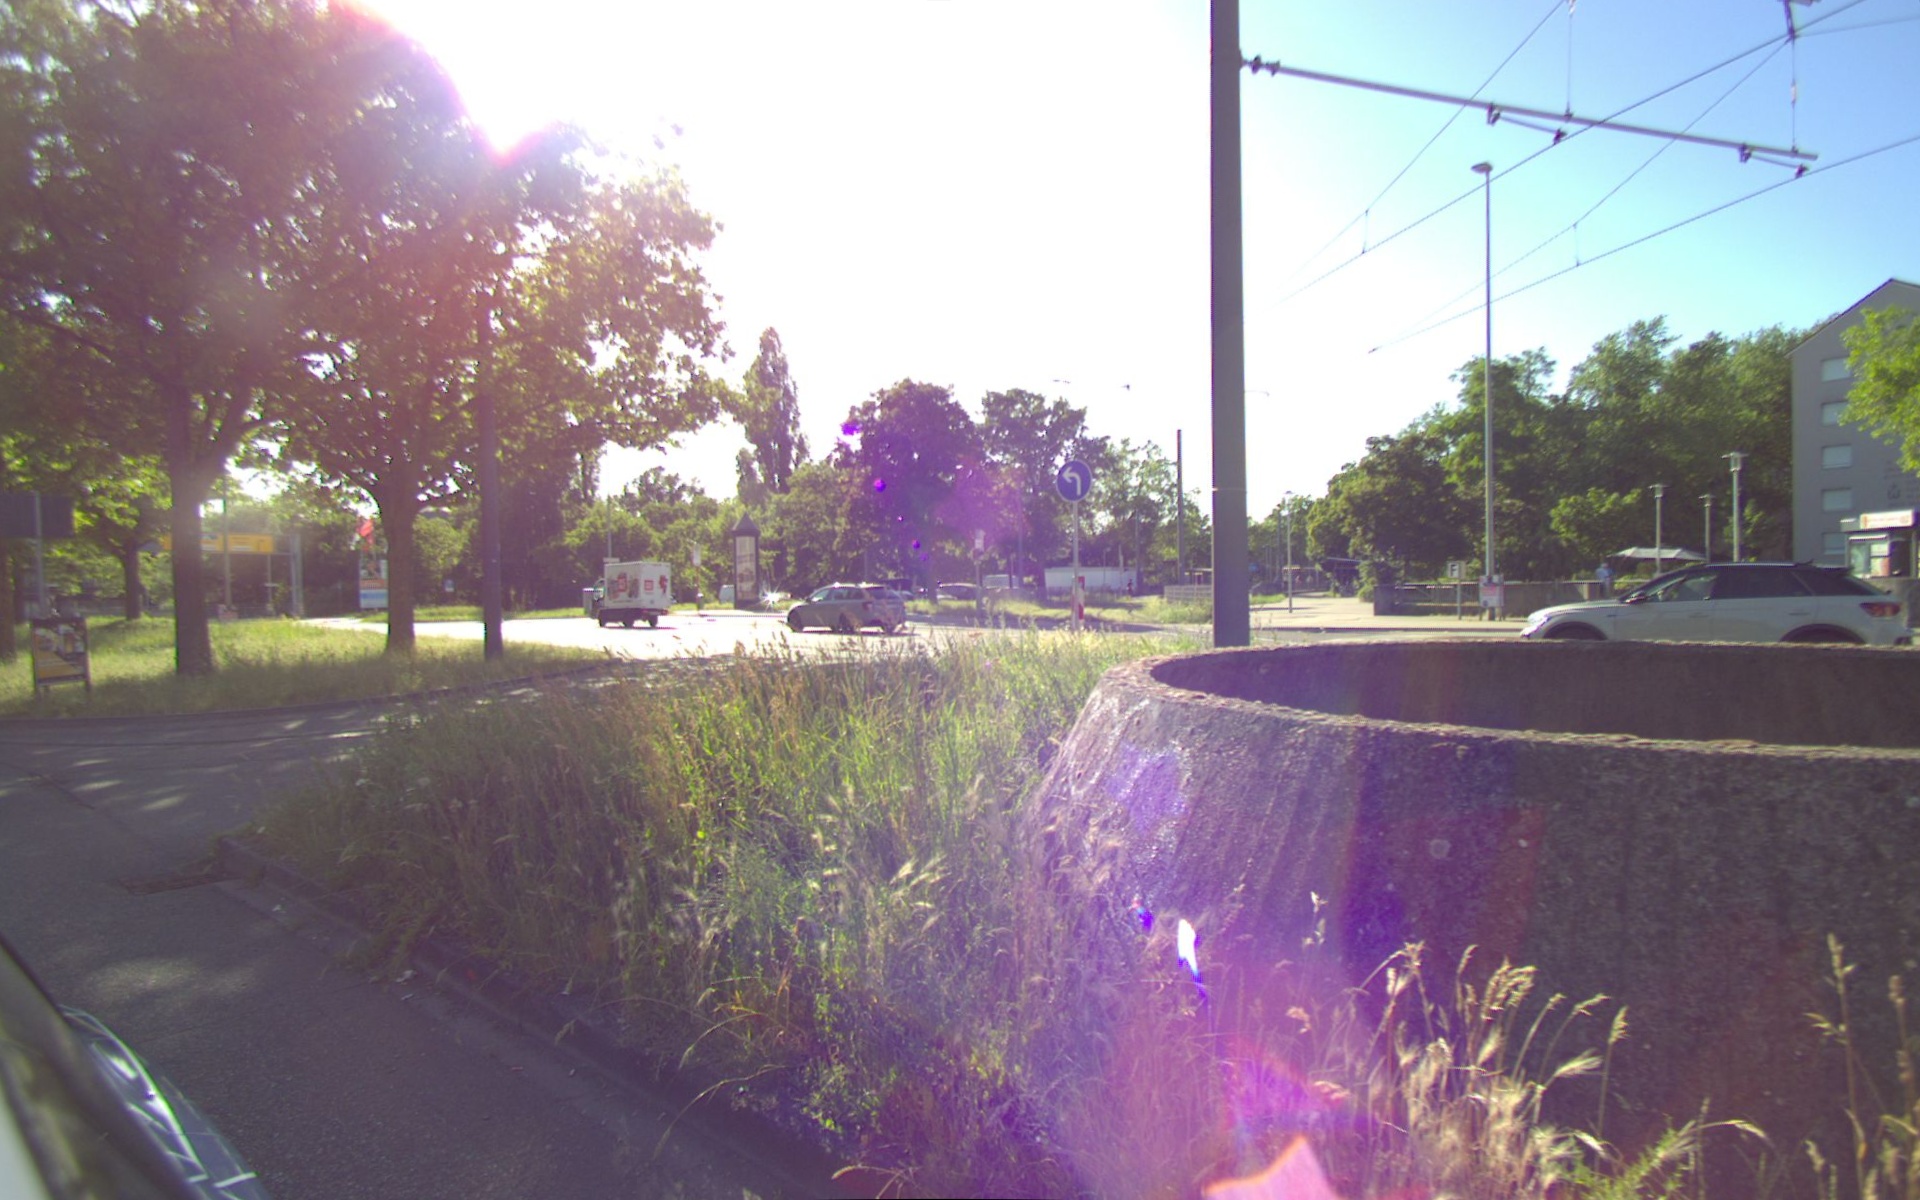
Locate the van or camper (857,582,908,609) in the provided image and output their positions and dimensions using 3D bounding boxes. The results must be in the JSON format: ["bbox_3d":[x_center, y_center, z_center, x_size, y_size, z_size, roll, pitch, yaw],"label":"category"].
[{"bbox_3d":[-6.420,-0.344,83.092,1.969,2.112,4.409,-2,1,-40],"label":"van or camper"}]

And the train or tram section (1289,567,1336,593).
[{"bbox_3d":[45.567,-2.659,130.230,2.459,2.962,19.652,-1,1,29],"label":"train or tram section"}]

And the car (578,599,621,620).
[{"bbox_3d":[-26.091,0.687,73.181,1.792,1.459,4.009,-2,1,-37],"label":"car"}]

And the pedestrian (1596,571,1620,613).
[{"bbox_3d":[28.850,-0.345,45.078,0.550,1.843,0.729,-2,1,-35],"label":"pedestrian"}]

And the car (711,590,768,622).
[{"bbox_3d":[-14.906,0.351,68.733,2.213,2.029,4.988,-1,1,8],"label":"car"}]

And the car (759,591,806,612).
[{"bbox_3d":[-11.856,0.067,67.730,1.977,1.292,3.991,-1,1,8],"label":"car"}]

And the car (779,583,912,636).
[{"bbox_3d":[-3.543,0.281,30.718,1.644,1.459,4.405,-2,1,-44],"label":"car"}]

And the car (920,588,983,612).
[{"bbox_3d":[-0.621,-0.017,71.630,3.974,1.579,1.985,-1,1,23],"label":"car"}]

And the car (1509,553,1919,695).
[{"bbox_3d":[9.962,0.248,13.332,1.970,1.574,4.391,-2,1,-43],"label":"car"}]

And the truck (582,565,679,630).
[{"bbox_3d":[-13.148,-0.093,40.260,4.108,2.445,1.770,-1,1,41],"label":"truck"}]
